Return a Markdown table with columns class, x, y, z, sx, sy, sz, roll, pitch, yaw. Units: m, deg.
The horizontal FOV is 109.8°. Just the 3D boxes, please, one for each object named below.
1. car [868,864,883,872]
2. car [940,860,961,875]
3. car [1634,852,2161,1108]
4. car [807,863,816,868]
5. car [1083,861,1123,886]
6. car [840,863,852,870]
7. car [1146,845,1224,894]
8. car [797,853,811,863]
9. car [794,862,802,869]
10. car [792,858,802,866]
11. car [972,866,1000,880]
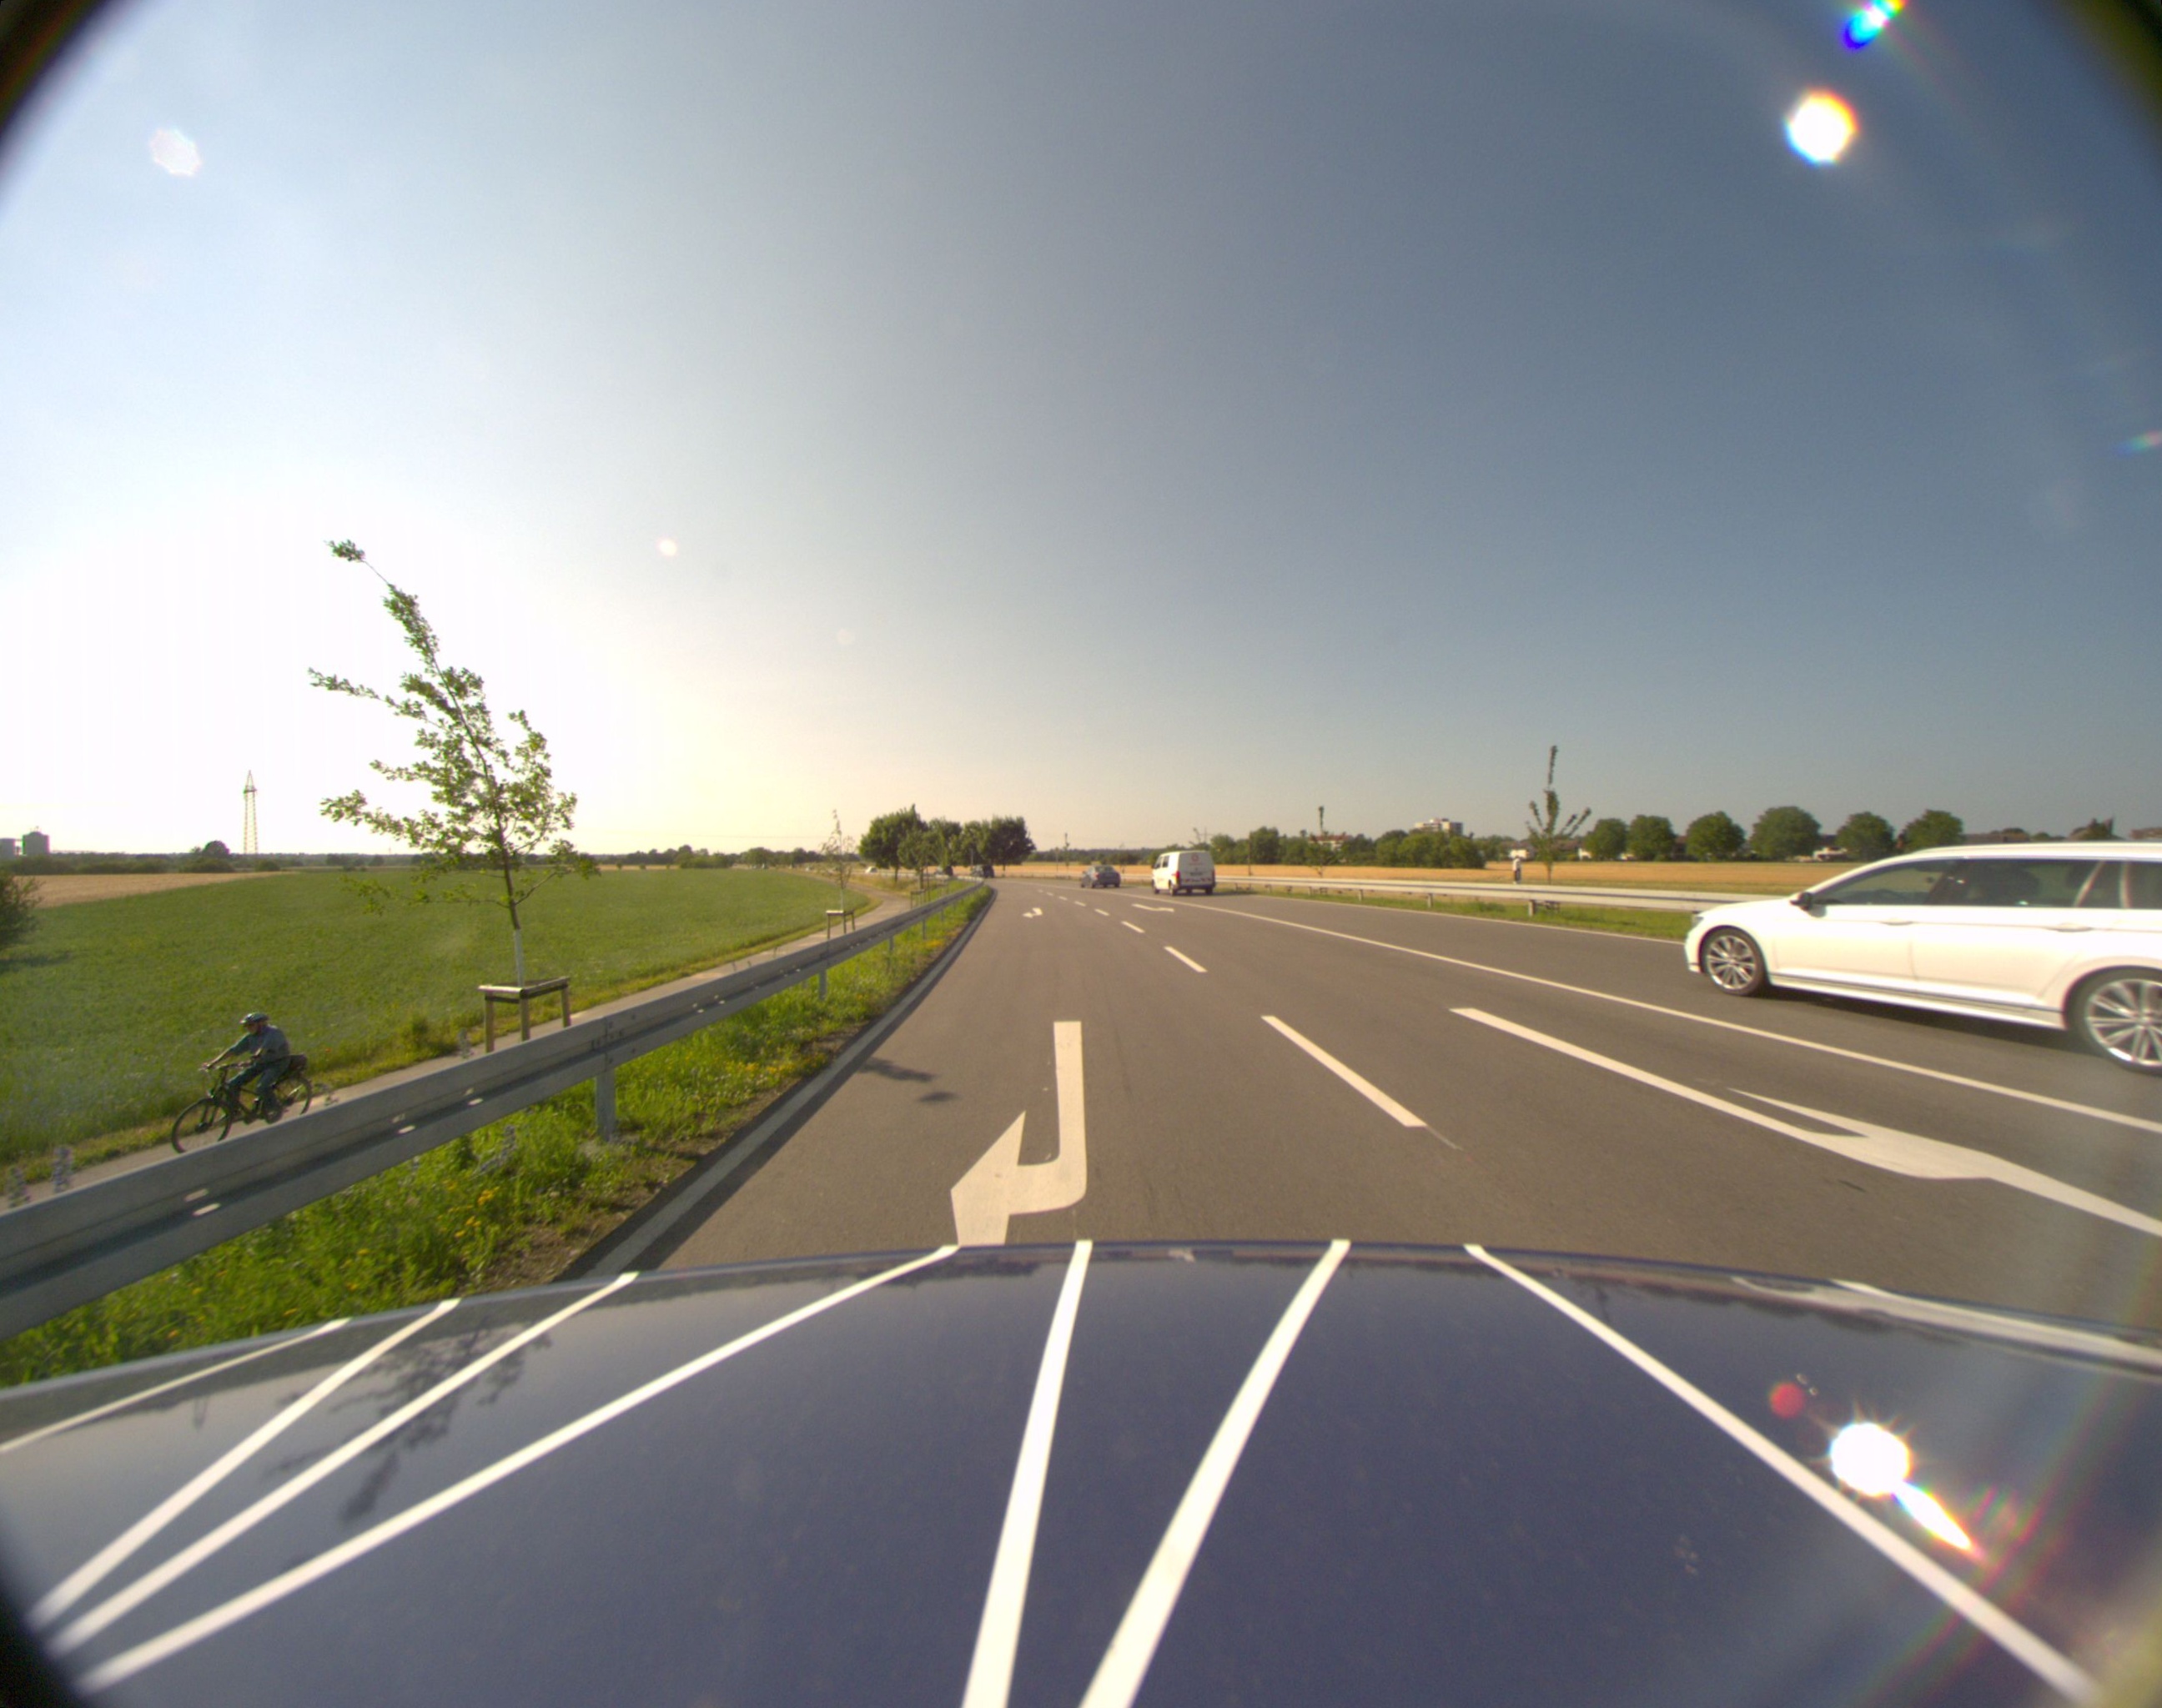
| class | x | y | z | sx | sy | sz | roll | pitch | yaw |
| --- | --- | --- | --- | --- | --- | --- | --- | --- | --- |
| car | -40.605 | 2.832 | 149.812 | 1.861 | 1.440 | 4.144 | -3 | 1 | -28 |
| car | -18.749 | 1.912 | 108.864 | 1.890 | 1.788 | 5.081 | -3 | 2 | -22 |
| car | 7.426 | 0.782 | 6.014 | 2.121 | 1.484 | 5.153 | -3 | -2 | -3 |
| car | -77.037 | 3.321 | 217.266 | 1.759 | 1.421 | 3.837 | -3 | 2 | -28 |
| car | 1.387 | 1.313 | 49.925 | 1.800 | 1.439 | 4.704 | -3 | -2 | -8 |
| car | -55.896 | 2.975 | 180.392 | 1.846 | 1.535 | 4.234 | -3 | 3 | -29 |
| car | 4.696 | 0.779 | 35.126 | 2.122 | 2.001 | 5.151 | -3 | -2 | -9 |
| car | -64.598 | 0.909 | 177.152 | 2.820 | 2.002 | 6.090 | -3 | 1 | -23 |
| car | -91.490 | 3.621 | 245.770 | 1.921 | 2.002 | 4.772 | -3 | 2 | -27 |
| car | -74.374 | 2.016 | 199.019 | 1.792 | 2.002 | 3.991 | -3 | 2 | -29 |
| car | -11.519 | 2.231 | 91.850 | 2.002 | 1.583 | 4.854 | -2 | 0 | -23 |
